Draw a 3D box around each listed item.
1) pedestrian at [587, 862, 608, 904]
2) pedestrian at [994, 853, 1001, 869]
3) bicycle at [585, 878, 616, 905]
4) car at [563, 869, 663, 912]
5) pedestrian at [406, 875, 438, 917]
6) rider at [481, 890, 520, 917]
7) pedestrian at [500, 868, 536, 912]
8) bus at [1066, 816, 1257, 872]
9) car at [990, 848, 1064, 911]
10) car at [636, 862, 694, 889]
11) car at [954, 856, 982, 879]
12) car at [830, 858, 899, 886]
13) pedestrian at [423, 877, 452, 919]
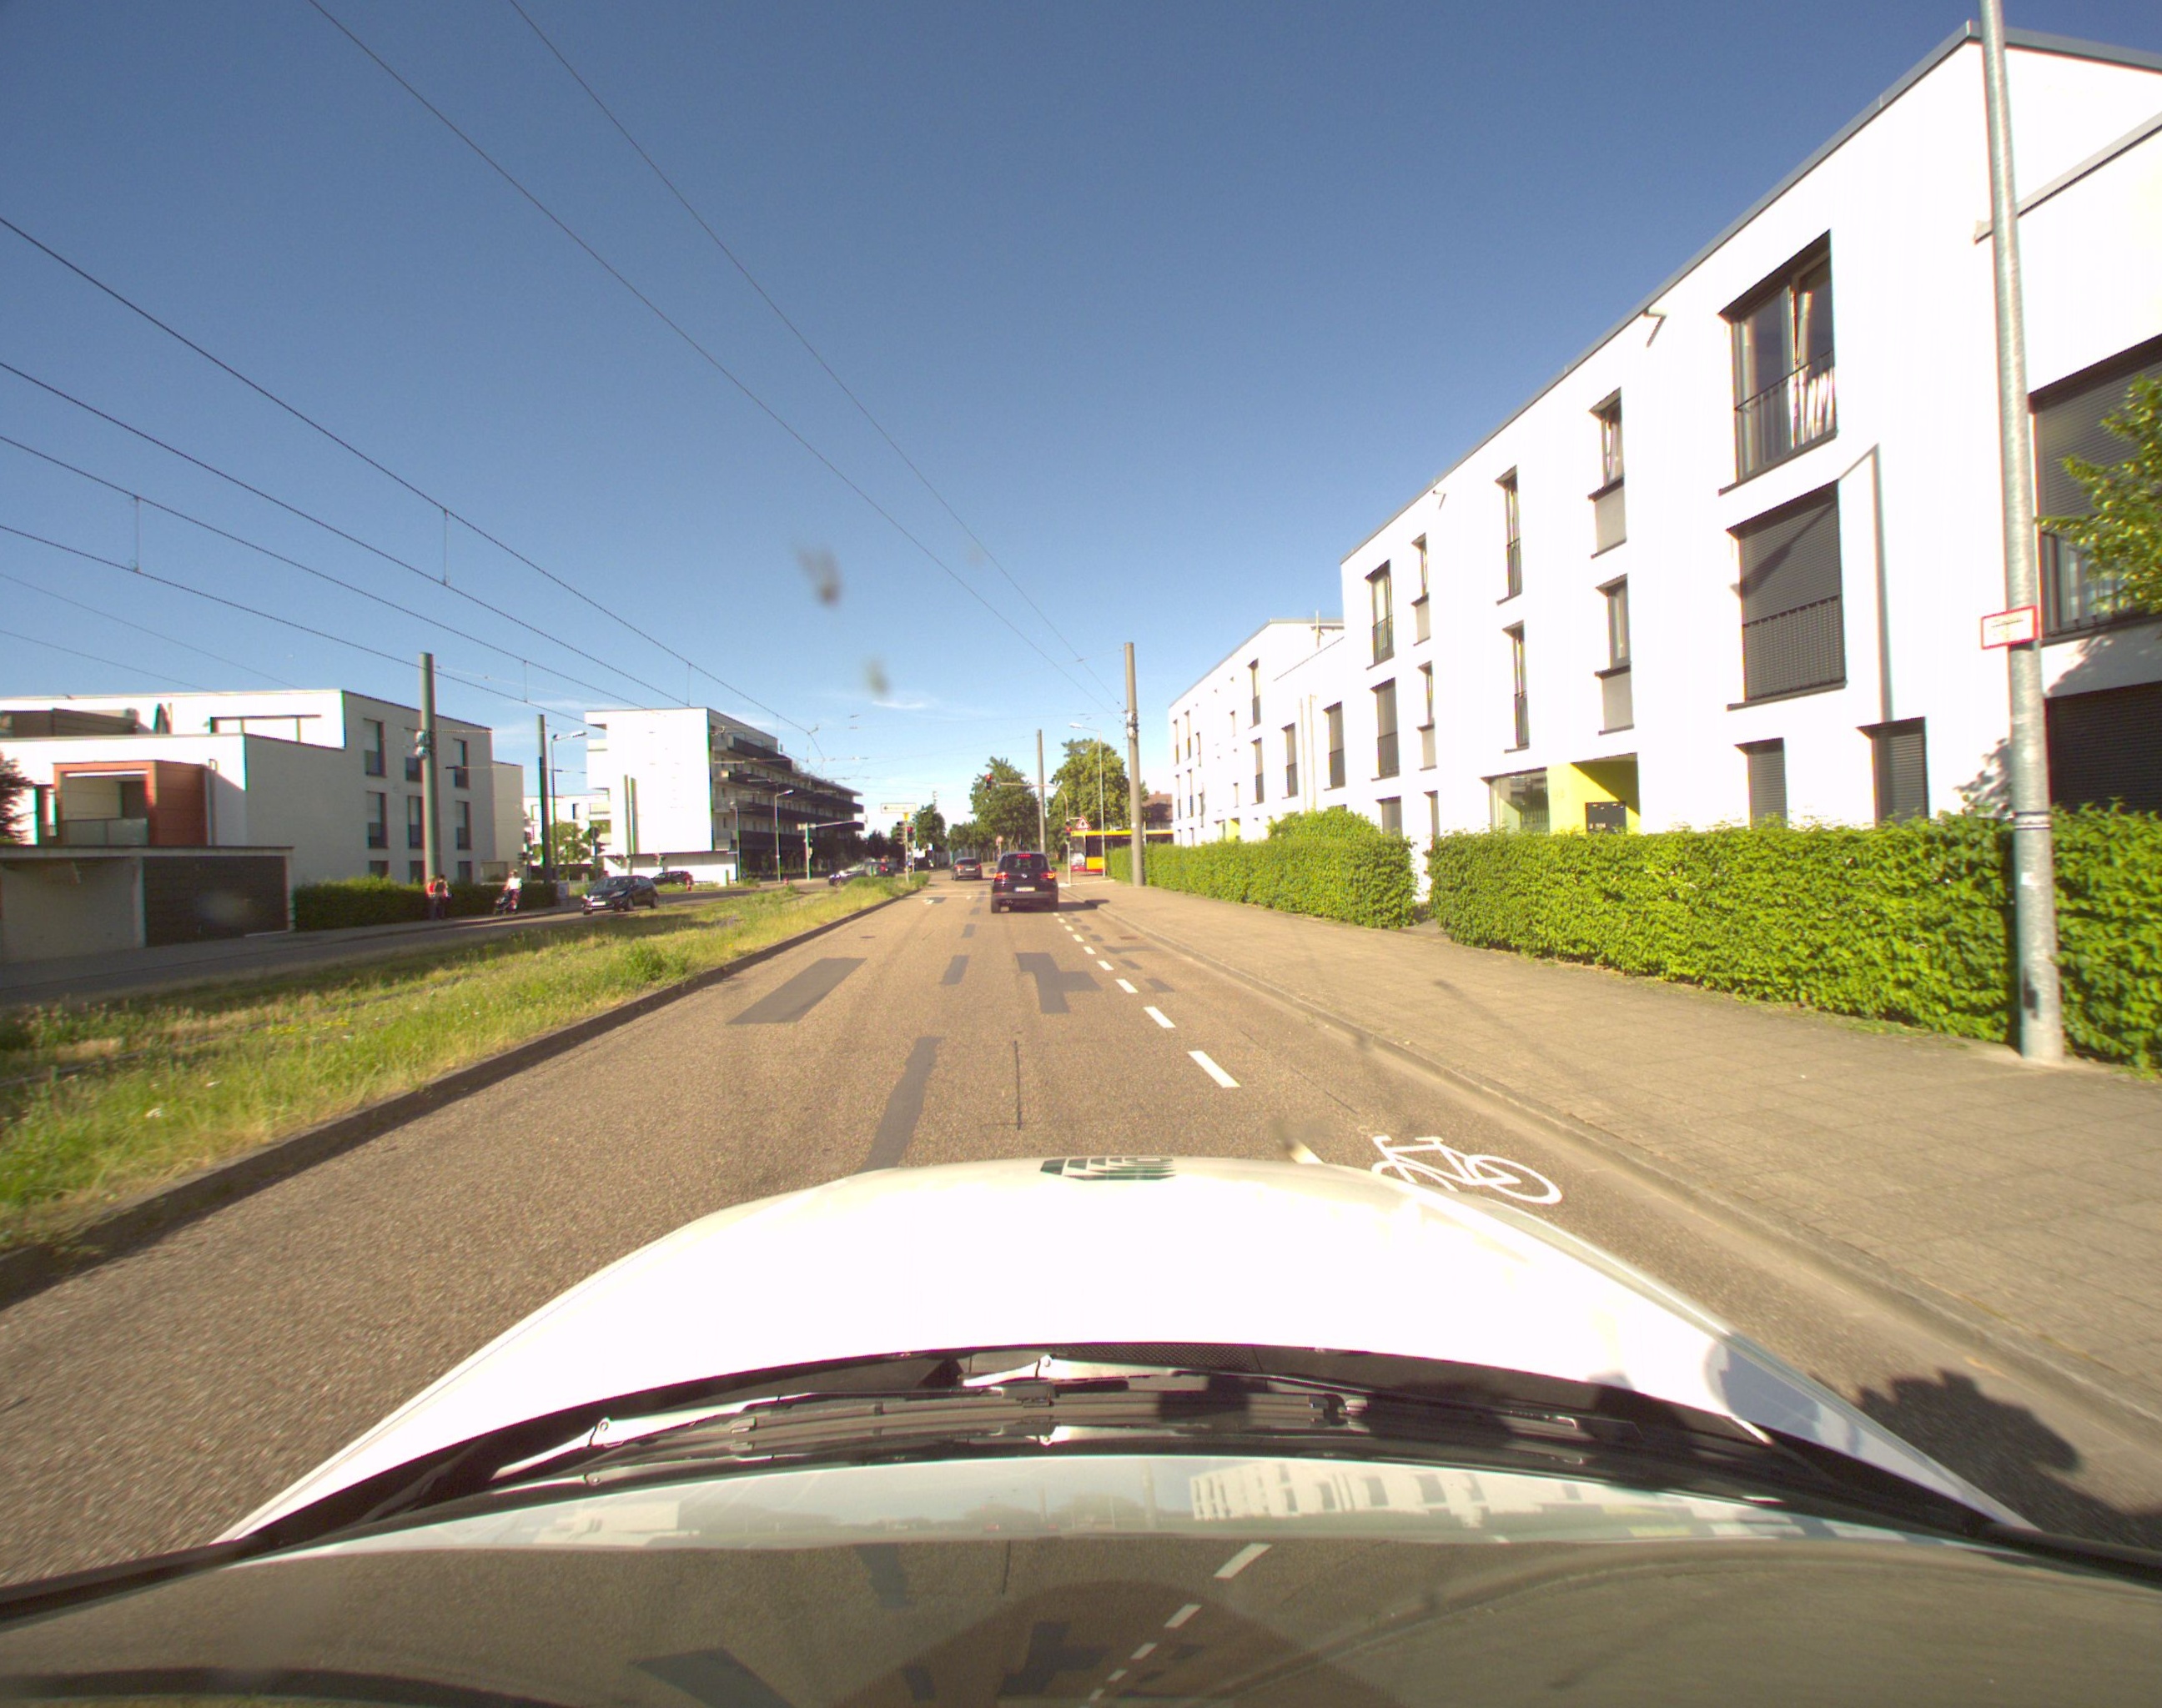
[{"bbox_3d":[-23.696,1.407,39.918,0.763,2.014,0.665,0,0,-19],"label":"pedestrian"},{"bbox_3d":[-8.370,0.701,81.460,0.601,1.640,0.528,0,0,-1],"label":"pedestrian"},{"bbox_3d":[-23.900,1.857,40.563,0.796,1.221,2.686,0,0,-18],"label":"bicycle"},{"bbox_3d":[-18.243,1.380,31.959,1.785,1.418,3.993,-3,0,-5],"label":"car"},{"bbox_3d":[-23.819,1.497,29.440,0.556,1.464,0.741,0,0,-4],"label":"pedestrian"},{"bbox_3d":[-22.832,1.926,32.066,0.775,1.003,1.045,0,0,-1],"label":"rider"},{"bbox_3d":[-22.835,1.449,33.062,0.813,1.748,0.909,0,0,1],"label":"pedestrian"},{"bbox_3d":[6.011,-0.689,58.231,14.725,3.671,2.821,0,0,-30],"label":"bus"},{"bbox_3d":[-1.635,0.663,23.267,1.904,1.643,3.991,0,0,-7],"label":"car"},{"bbox_3d":[-34.793,1.771,68.123,4.016,2.013,1.979,-3,0,-34],"label":"car"},{"bbox_3d":[-7.312,0.852,52.955,1.749,1.387,3.991,0,0,-7],"label":"car"},{"bbox_3d":[-13.016,1.074,49.147,3.726,1.430,1.704,-4,0,-8],"label":"car"},{"bbox_3d":[-23.244,1.571,29.413,0.556,1.464,0.611,0,0,-4],"label":"pedestrian"}]
